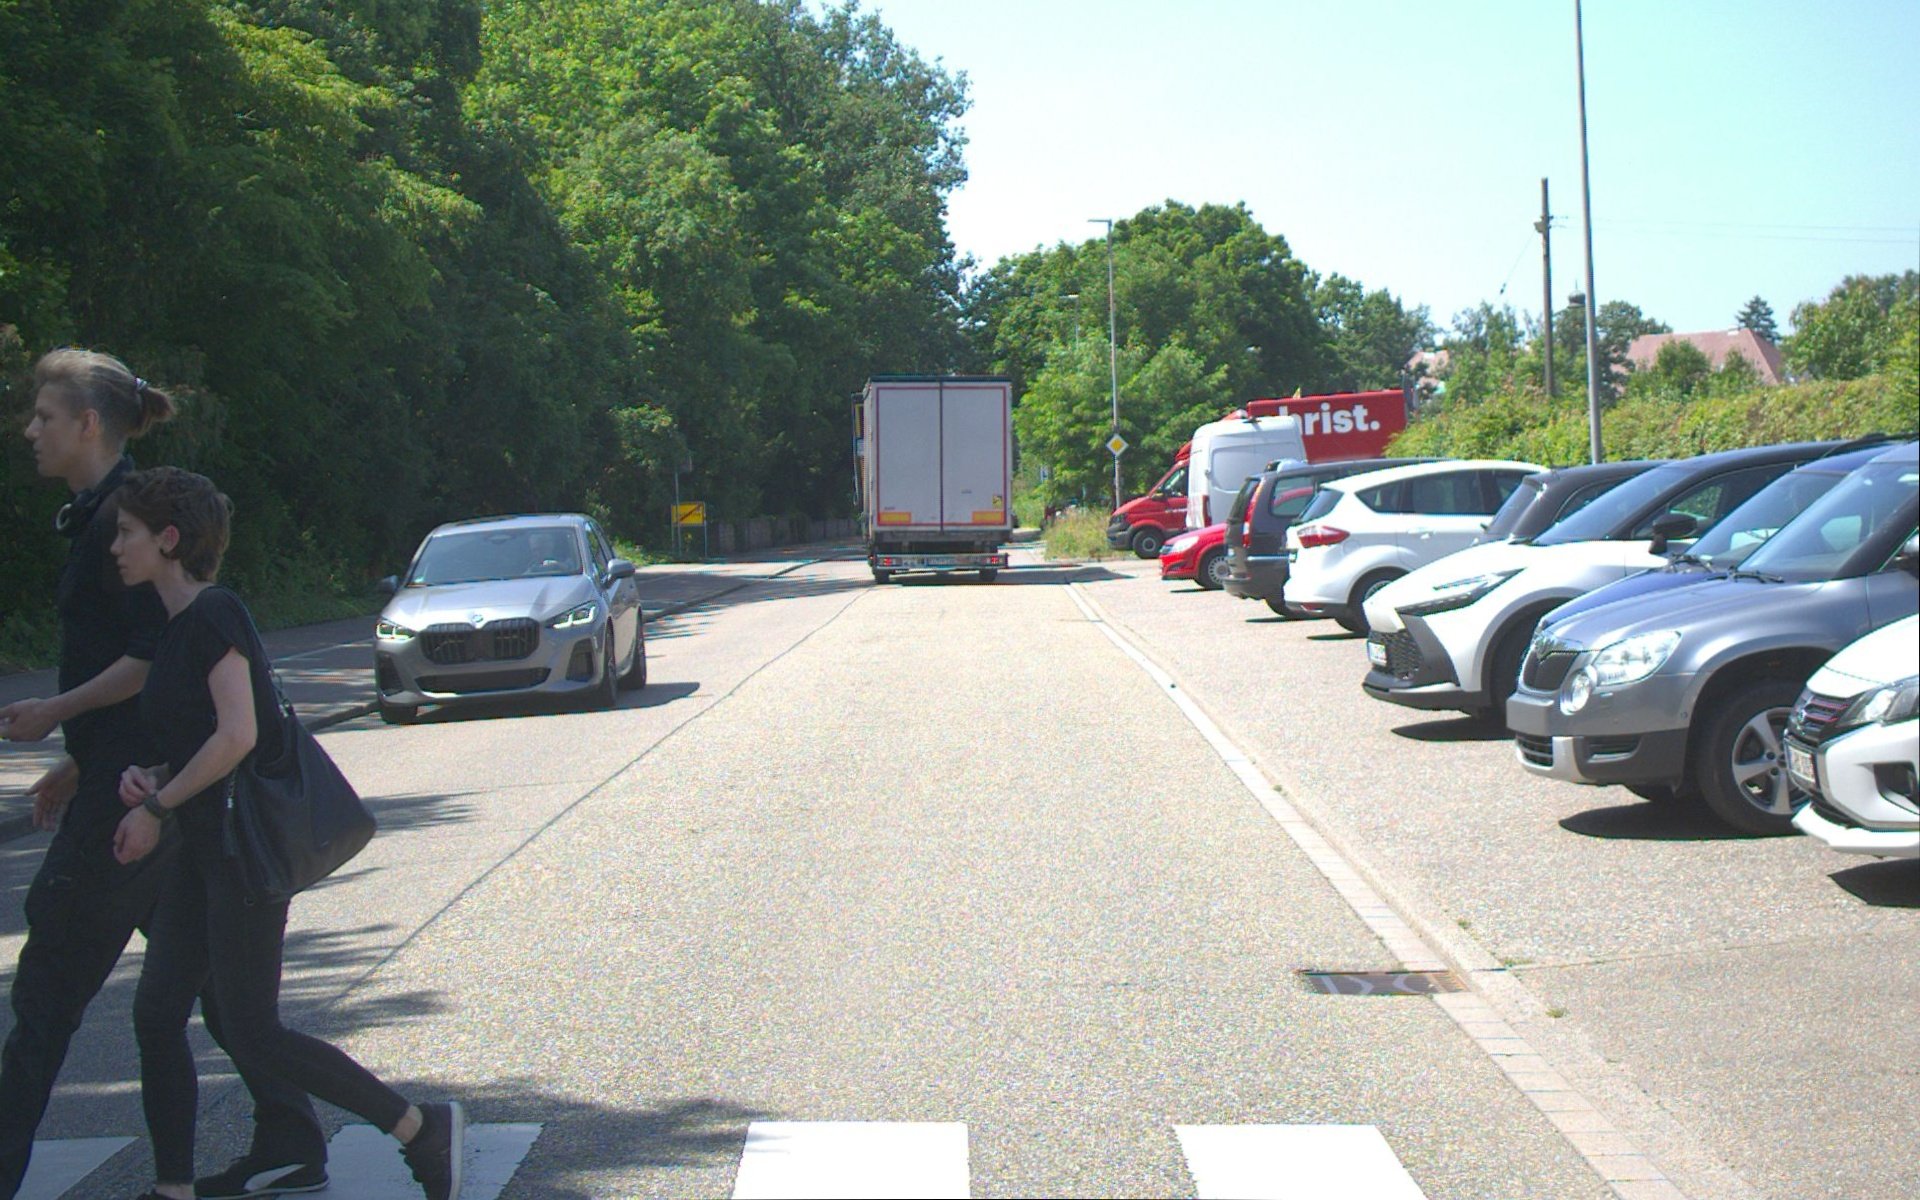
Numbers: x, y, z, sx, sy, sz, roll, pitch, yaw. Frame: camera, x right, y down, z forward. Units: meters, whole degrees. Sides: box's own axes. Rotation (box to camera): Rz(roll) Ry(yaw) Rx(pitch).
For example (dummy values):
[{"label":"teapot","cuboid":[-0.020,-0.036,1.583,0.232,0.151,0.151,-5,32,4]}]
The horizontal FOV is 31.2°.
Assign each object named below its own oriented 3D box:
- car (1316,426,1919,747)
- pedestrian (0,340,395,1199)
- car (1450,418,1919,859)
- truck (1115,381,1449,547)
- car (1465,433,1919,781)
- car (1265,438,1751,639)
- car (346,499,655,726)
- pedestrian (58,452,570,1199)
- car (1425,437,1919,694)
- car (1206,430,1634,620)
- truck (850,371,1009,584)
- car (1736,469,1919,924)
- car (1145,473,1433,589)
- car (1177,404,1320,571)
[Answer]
[{"label":"car","cuboid":[4.348,-0.133,20.754,3.962,1.517,1.865,-6,2,-5]},{"label":"pedestrian","cuboid":[-1.827,0.407,7.342,1.082,1.858,0.784,-2,1,-16]},{"label":"car","cuboid":[4.335,0.025,14.957,3.960,1.634,1.664,-6,2,-5]},{"label":"truck","cuboid":[7.228,-3.031,76.828,7.140,3.428,2.329,-1,2,11]},{"label":"car","cuboid":[4.563,-0.052,17.886,3.452,1.522,1.540,-6,2,-5]},{"label":"car","cuboid":[5.233,-0.610,33.191,4.276,1.572,1.766,-4,2,-1]},{"label":"car","cuboid":[-3.653,0.033,28.047,1.891,1.527,4.197,-6,2,-1]},{"label":"pedestrian","cuboid":[-1.314,0.529,6.909,0.893,1.605,0.781,-2,1,-16]},{"label":"car","cuboid":[5.020,-0.264,23.745,3.388,1.498,1.588,-4,2,4]},{"label":"car","cuboid":[5.223,-0.859,39.400,4.452,1.798,1.953,-4,1,-4]},{"label":"truck","cuboid":[-0.451,-2.375,67.856,2.733,3.733,13.246,-1,2,1]},{"label":"car","cuboid":[4.778,0.154,12.082,3.690,1.445,1.610,-5,2,4]},{"label":"car","cuboid":[4.967,-1.060,52.265,4.053,1.429,1.836,-4,2,-2]},{"label":"car","cuboid":[5.193,-2.063,62.727,1.954,2.724,7.168,-4,2,1]}]
